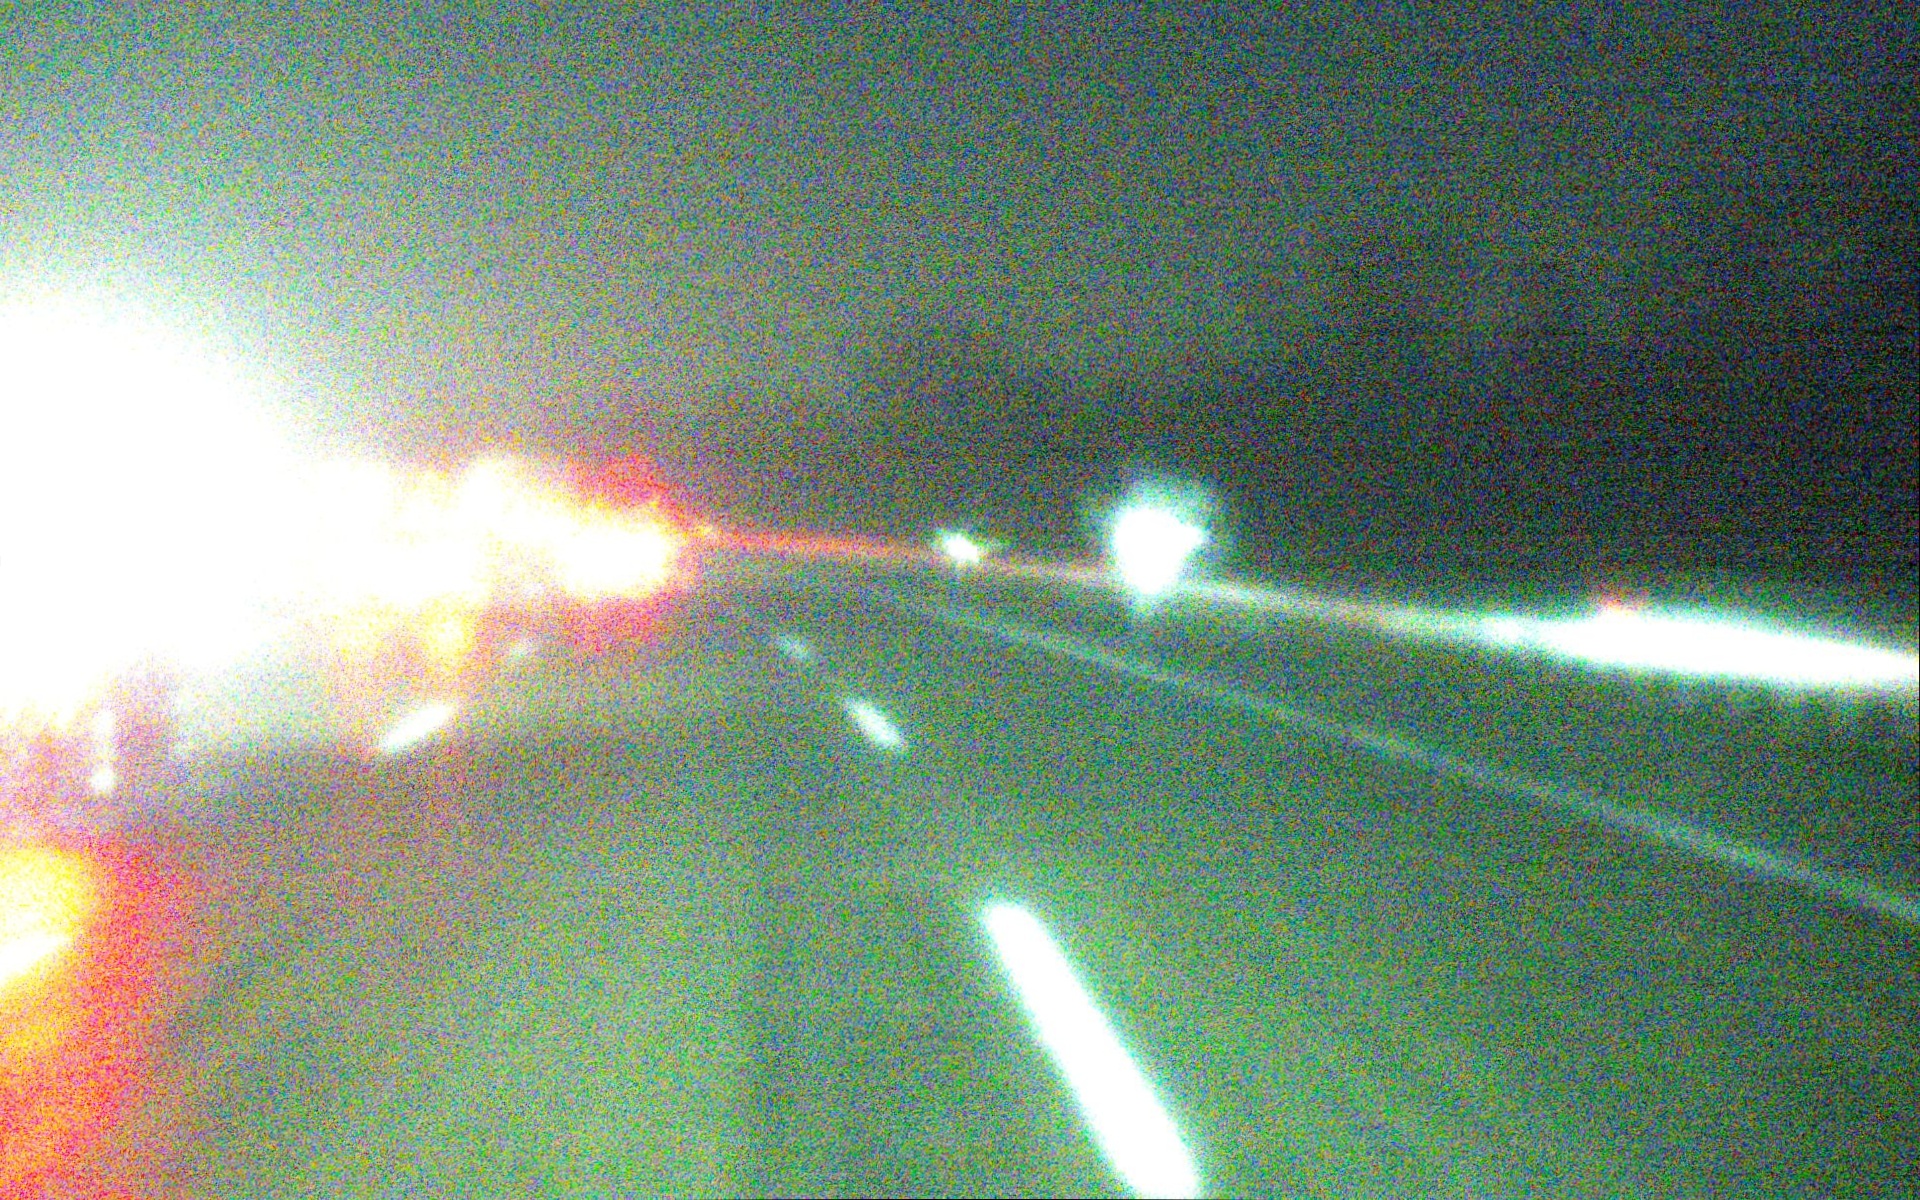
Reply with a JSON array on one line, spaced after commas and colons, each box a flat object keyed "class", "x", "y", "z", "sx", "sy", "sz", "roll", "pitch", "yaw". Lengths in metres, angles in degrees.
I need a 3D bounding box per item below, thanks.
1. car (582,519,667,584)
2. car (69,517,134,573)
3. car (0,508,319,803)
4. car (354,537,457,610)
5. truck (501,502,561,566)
[{"class": "car", "x": -8.253, "y": -1.202, "z": 84.876, "sx": 1.801, "sy": 1.482, "sz": 4.001, "roll": 3, "pitch": 1, "yaw": -2}, {"class": "car", "x": -23.855, "y": -1.538, "z": 95.599, "sx": 1.573, "sy": 1.487, "sz": 4.001, "roll": 1, "pitch": 1, "yaw": -12}, {"class": "car", "x": -5.378, "y": 0.245, "z": 20.935, "sx": 1.858, "sy": 1.535, "sz": 4.750, "roll": 4, "pitch": 1, "yaw": 1}, {"class": "car", "x": -9.862, "y": -0.465, "z": 60.995, "sx": 1.661, "sy": 1.232, "sz": 3.762, "roll": 1, "pitch": 0, "yaw": -11}, {"class": "truck", "x": -20.865, "y": -3.174, "z": 166.940, "sx": 1.993, "sy": 3.032, "sz": 6.467, "roll": 1, "pitch": 0, "yaw": -15}]
